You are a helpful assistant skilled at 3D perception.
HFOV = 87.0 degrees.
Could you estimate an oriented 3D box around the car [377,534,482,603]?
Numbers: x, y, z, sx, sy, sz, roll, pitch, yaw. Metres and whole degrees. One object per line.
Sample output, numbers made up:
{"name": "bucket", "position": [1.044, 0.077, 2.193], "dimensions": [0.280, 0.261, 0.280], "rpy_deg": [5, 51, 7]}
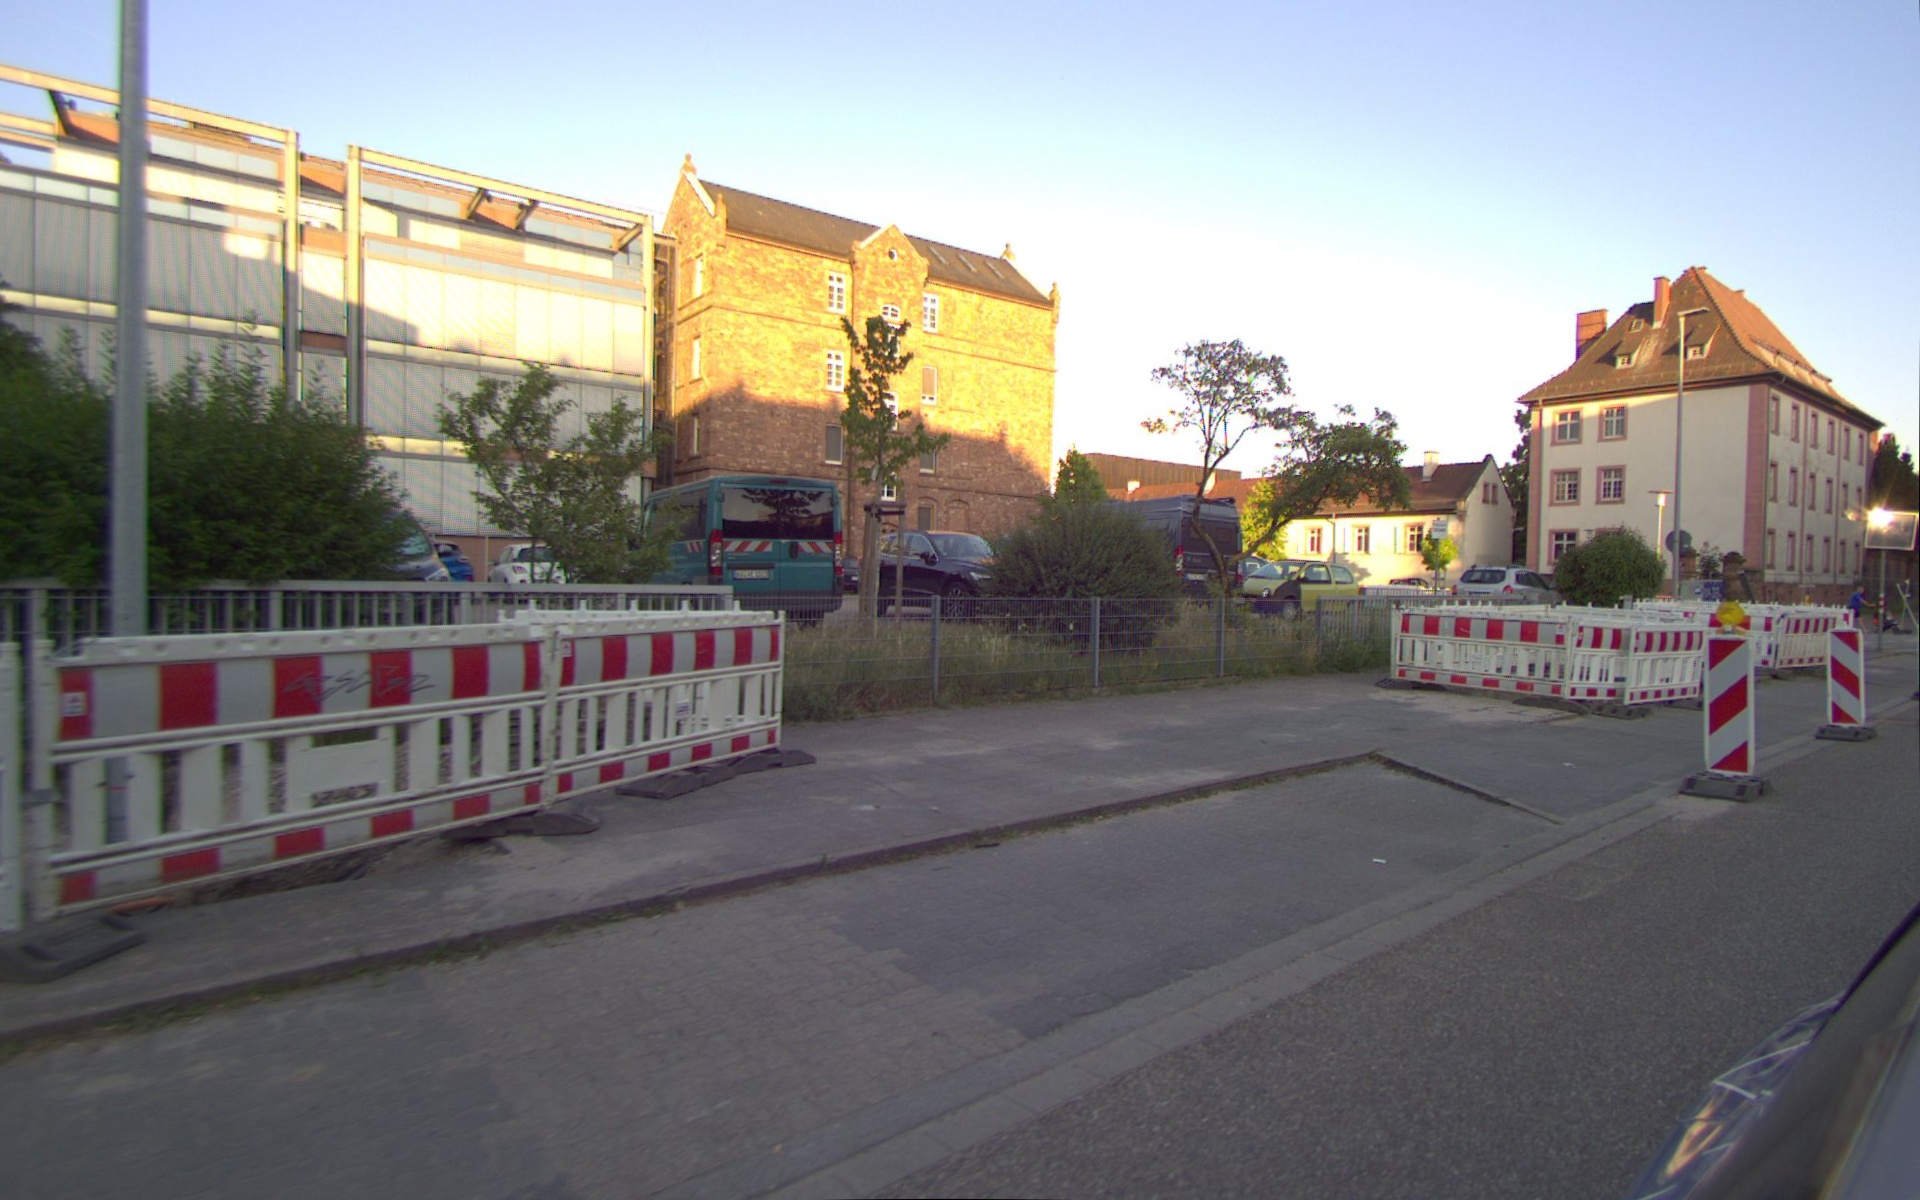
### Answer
{"name": "car", "position": [-13.046, -0.784, 24.788], "dimensions": [1.946, 1.536, 3.946], "rpy_deg": [0, 2, -33]}

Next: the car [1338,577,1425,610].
{"name": "car", "position": [20.245, -0.336, 48.603], "dimensions": [3.922, 1.523, 2.001], "rpy_deg": [0, 2, -33]}

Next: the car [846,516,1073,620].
{"name": "car", "position": [-0.141, -0.586, 18.743], "dimensions": [1.963, 1.669, 4.437], "rpy_deg": [0, 2, -36]}

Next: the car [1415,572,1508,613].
{"name": "car", "position": [22.349, -0.362, 45.072], "dimensions": [3.922, 1.723, 2.001], "rpy_deg": [0, 1, -33]}

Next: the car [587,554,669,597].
{"name": "car", "position": [-12.854, -0.953, 39.031], "dimensions": [1.793, 1.536, 4.147], "rpy_deg": [0, 2, -37]}

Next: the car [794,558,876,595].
{"name": "car", "position": [-5.604, -1.071, 45.124], "dimensions": [1.793, 1.536, 4.147], "rpy_deg": [0, 2, -37]}

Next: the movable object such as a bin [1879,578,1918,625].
{"name": "movable object such as a bin", "position": [33.407, 0.043, 36.022], "dimensions": [0.975, 1.630, 0.624], "rpy_deg": [2, 1, 44]}

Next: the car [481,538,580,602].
{"name": "car", "position": [-11.092, -0.792, 26.012], "dimensions": [1.791, 1.536, 3.735], "rpy_deg": [0, 2, -32]}

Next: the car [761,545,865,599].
{"name": "car", "position": [-4.543, -0.872, 30.802], "dimensions": [1.791, 1.536, 3.735], "rpy_deg": [0, 2, -32]}

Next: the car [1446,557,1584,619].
{"name": "car", "position": [15.989, -0.355, 29.031], "dimensions": [4.723, 1.650, 1.918], "rpy_deg": [0, 2, -41]}

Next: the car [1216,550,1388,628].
{"name": "car", "position": [7.930, -0.263, 23.329], "dimensions": [4.058, 1.669, 1.702], "rpy_deg": [0, 1, -36]}

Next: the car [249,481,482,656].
{"name": "car", "position": [-7.745, -0.432, 12.959], "dimensions": [1.969, 1.832, 4.491], "rpy_deg": [0, 2, -38]}

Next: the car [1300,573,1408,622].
{"name": "car", "position": [14.194, -0.114, 36.414], "dimensions": [3.930, 1.620, 2.014], "rpy_deg": [0, 2, -41]}

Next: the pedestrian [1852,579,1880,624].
{"name": "pedestrian", "position": [32.768, 0.045, 36.598], "dimensions": [0.714, 1.630, 0.510], "rpy_deg": [2, 1, 44]}

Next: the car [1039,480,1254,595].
{"name": "car", "position": [3.913, -1.285, 21.968], "dimensions": [1.963, 2.224, 4.437], "rpy_deg": [0, 2, -36]}

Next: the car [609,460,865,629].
{"name": "car", "position": [-3.647, -0.787, 15.680], "dimensions": [2.245, 2.156, 5.040], "rpy_deg": [0, 2, -33]}

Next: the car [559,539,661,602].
{"name": "car", "position": [-9.425, -0.811, 27.076], "dimensions": [1.791, 1.536, 3.735], "rpy_deg": [0, 2, -32]}
